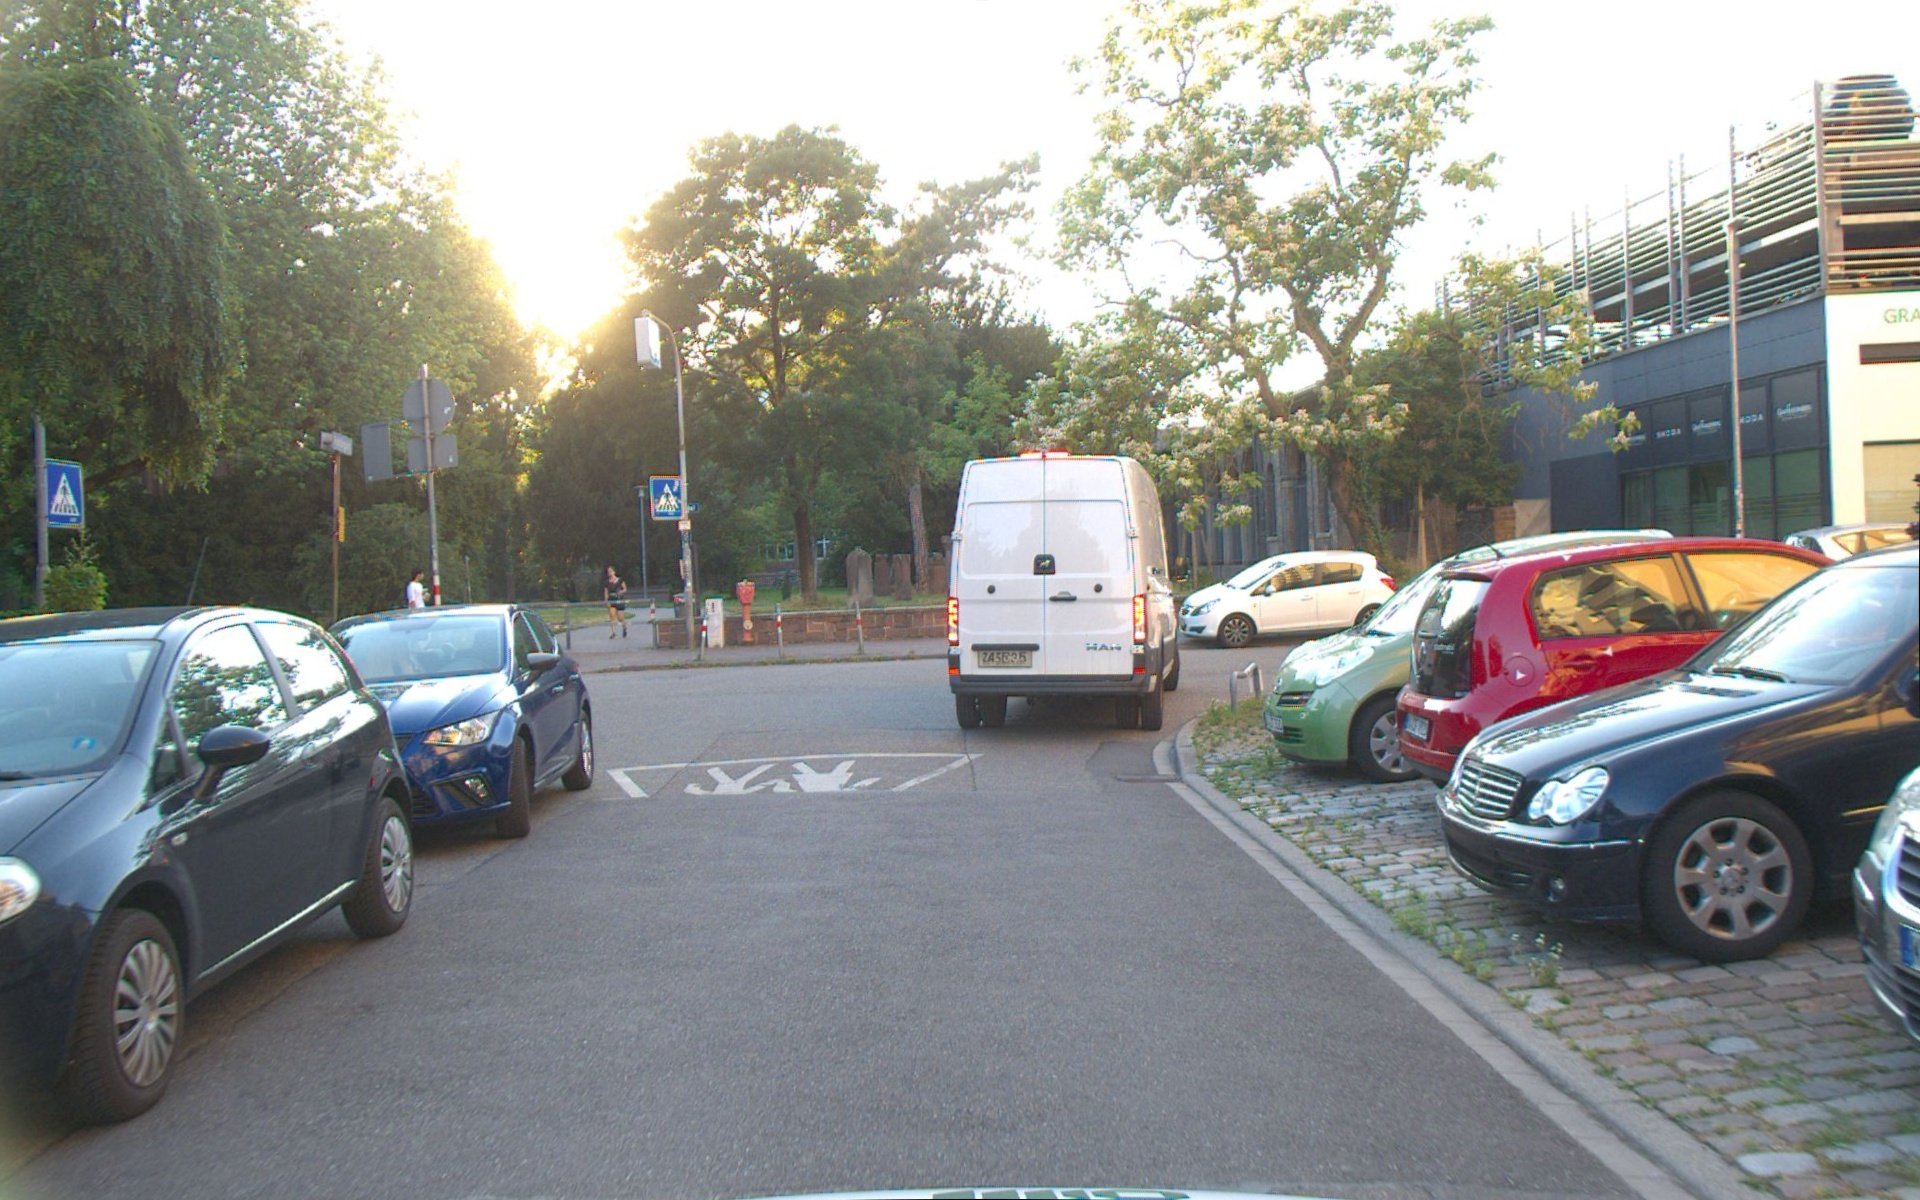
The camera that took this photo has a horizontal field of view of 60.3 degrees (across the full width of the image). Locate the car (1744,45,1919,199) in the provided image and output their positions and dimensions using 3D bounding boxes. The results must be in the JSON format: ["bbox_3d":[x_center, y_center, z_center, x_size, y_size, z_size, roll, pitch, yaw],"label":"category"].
[{"bbox_3d":[18.226,-9.894,34.569,1.952,2.049,4.002,-1,1,4],"label":"car"}]

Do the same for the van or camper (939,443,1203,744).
[{"bbox_3d":[1.446,-0.126,18.064,1.951,2.663,6.409,2,1,12],"label":"van or camper"}]

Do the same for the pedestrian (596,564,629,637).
[{"bbox_3d":[-8.084,0.008,38.480,0.633,1.677,0.674,0,1,-1],"label":"pedestrian"}]

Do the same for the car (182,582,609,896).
[{"bbox_3d":[-3.523,0.744,11.068,1.700,1.594,3.788,-4,1,-4],"label":"car"}]

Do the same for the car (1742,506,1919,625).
[{"bbox_3d":[13.580,-0.567,23.776,3.758,1.550,1.824,-3,1,3],"label":"car"}]

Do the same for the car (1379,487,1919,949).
[{"bbox_3d":[4.210,0.331,6.963,4.317,1.558,1.844,-4,-1,-4],"label":"car"}]

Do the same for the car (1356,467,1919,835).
[{"bbox_3d":[4.749,0.157,9.647,4.315,1.659,1.846,-6,1,1],"label":"car"}]

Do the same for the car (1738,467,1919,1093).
[{"bbox_3d":[4.703,0.302,4.401,4.318,1.690,1.844,-5,-1,-4],"label":"car"}]

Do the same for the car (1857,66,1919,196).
[{"bbox_3d":[20.747,-9.971,34.601,1.952,2.049,4.002,-1,1,4],"label":"car"}]

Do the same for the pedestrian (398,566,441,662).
[{"bbox_3d":[-10.519,0.271,32.192,0.581,1.840,0.621,-1,1,0],"label":"pedestrian"}]

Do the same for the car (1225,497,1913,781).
[{"bbox_3d":[4.327,0.267,12.196,4.317,1.659,1.844,-4,-1,-4],"label":"car"}]

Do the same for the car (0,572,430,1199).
[{"bbox_3d":[-3.222,0.759,5.749,1.700,1.594,3.694,-4,1,-4],"label":"car"}]

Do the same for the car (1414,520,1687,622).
[{"bbox_3d":[10.515,-0.520,29.674,4.203,1.529,1.824,-3,1,3],"label":"car"}]

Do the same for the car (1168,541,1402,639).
[{"bbox_3d":[5.822,-0.194,29.958,3.778,1.601,1.957,-2,1,-3],"label":"car"}]
